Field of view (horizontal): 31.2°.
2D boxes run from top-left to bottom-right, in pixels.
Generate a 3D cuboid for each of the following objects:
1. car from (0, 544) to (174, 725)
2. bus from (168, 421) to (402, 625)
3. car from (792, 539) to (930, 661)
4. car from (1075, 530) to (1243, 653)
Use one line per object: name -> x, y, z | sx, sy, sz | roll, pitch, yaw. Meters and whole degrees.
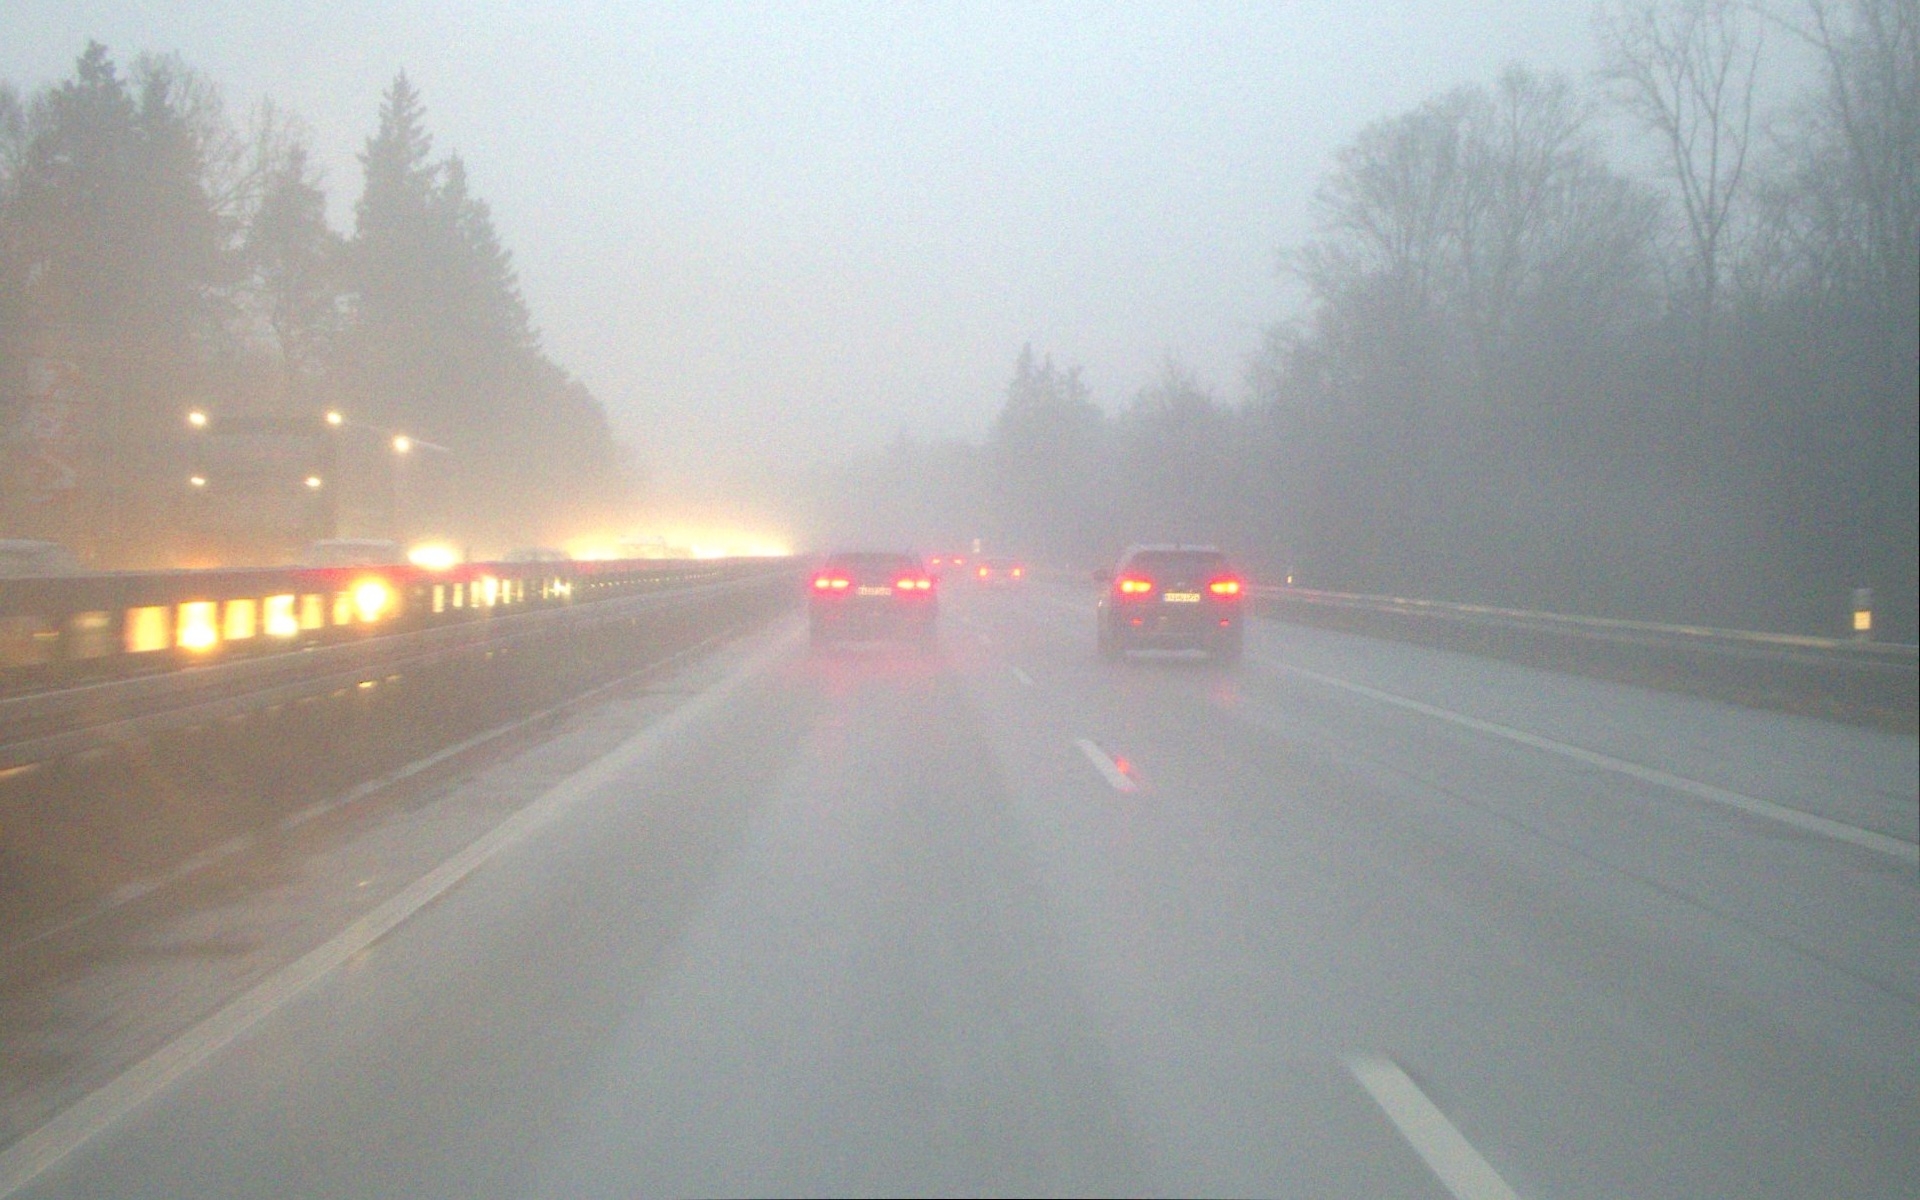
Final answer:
car -> -8.608, 0.261, 31.449 | 1.798, 1.529, 4.270 | 1, 1, 0
bus -> -12.597, -1.410, 64.941 | 2.726, 3.543, 9.089 | 1, 1, -1
car -> -1.457, -0.024, 51.861 | 1.986, 1.761, 4.173 | 0, 1, -1
car -> 2.873, -0.143, 50.534 | 2.070, 1.692, 4.461 | 1, 1, -1
